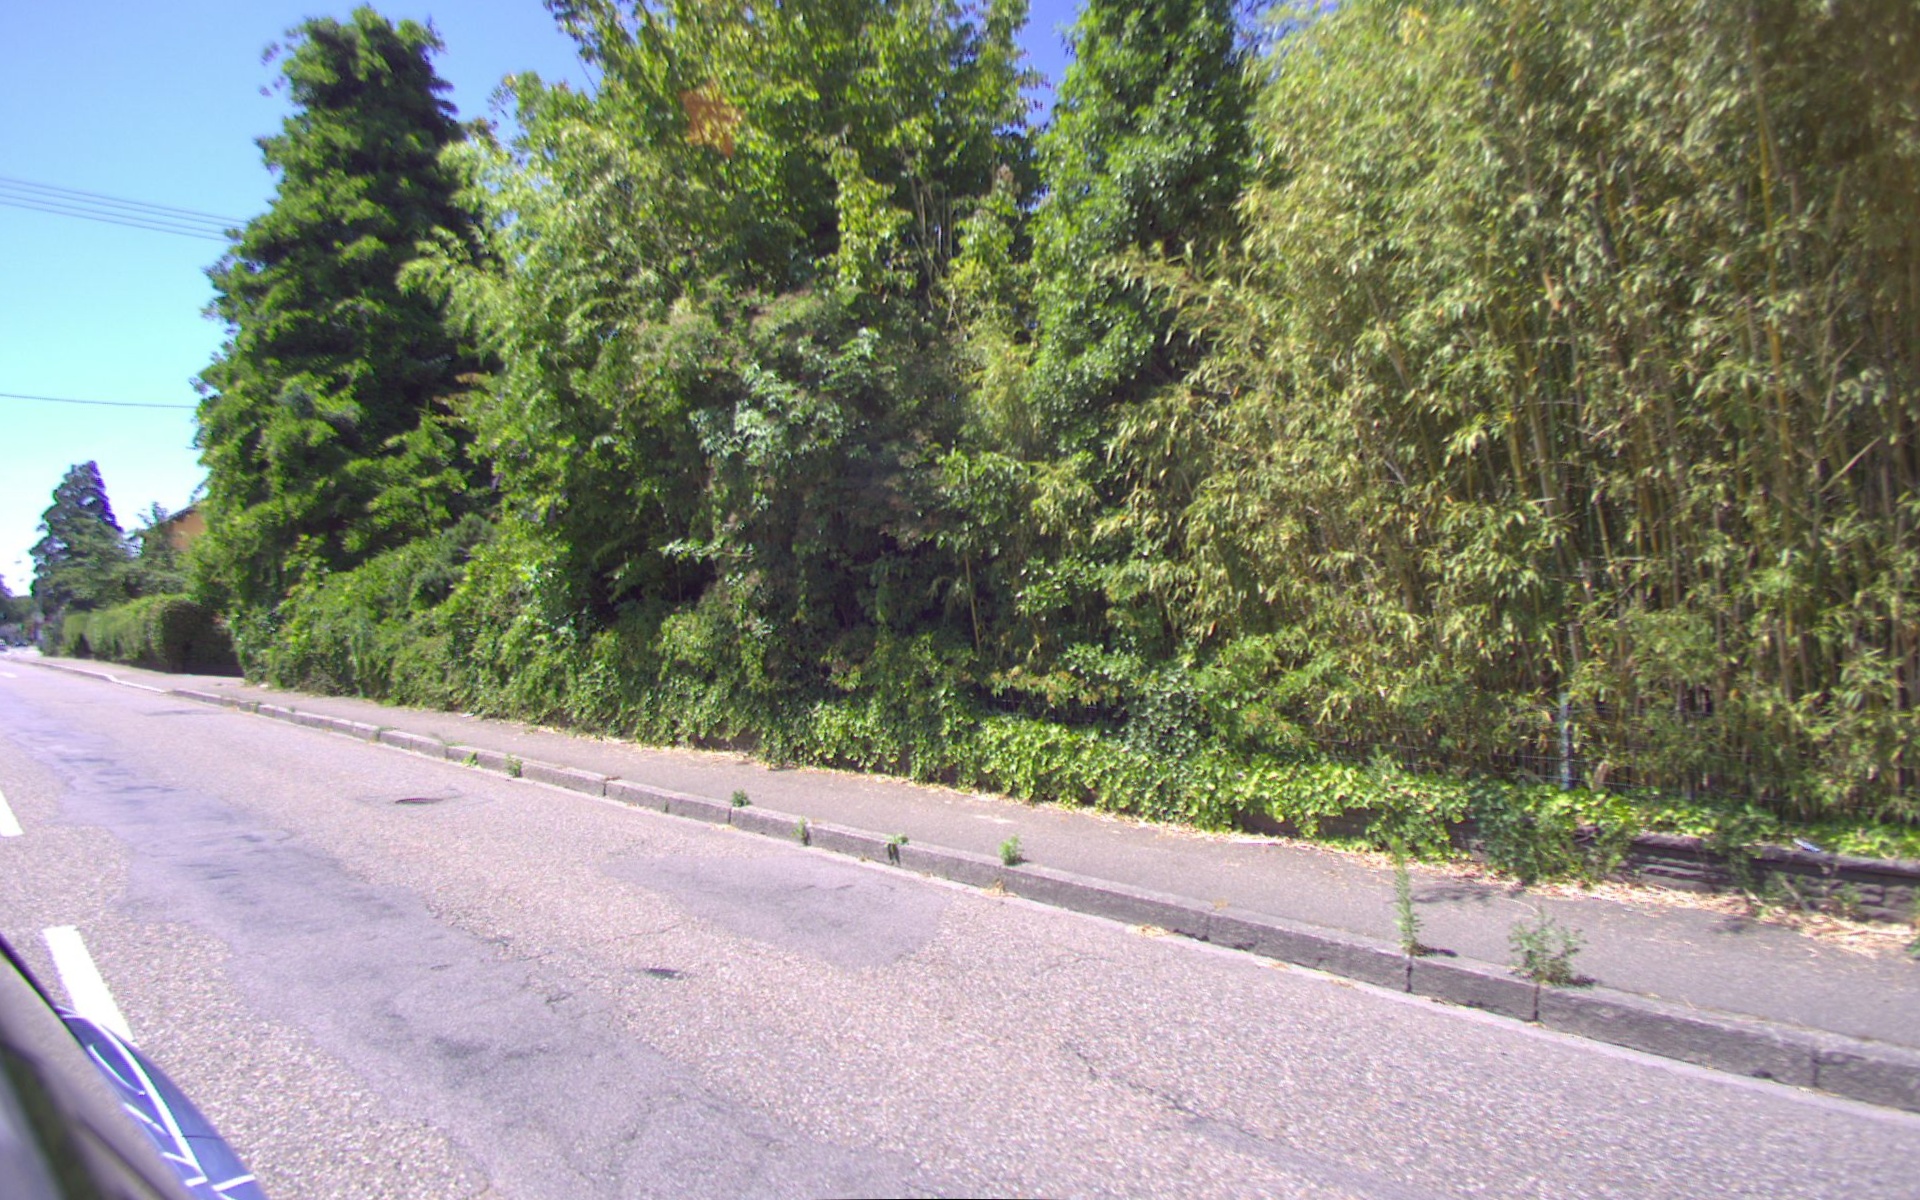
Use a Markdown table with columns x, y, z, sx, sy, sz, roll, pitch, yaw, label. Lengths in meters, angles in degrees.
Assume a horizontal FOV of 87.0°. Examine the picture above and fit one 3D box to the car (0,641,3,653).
| x | y | z | sx | sy | sz | roll | pitch | yaw | label |
| --- | --- | --- | --- | --- | --- | --- | --- | --- | --- |
| -113.421 | 5.554 | 118.606 | 4.207 | 1.383 | 1.661 | -3 | -4 | 44 | car |
